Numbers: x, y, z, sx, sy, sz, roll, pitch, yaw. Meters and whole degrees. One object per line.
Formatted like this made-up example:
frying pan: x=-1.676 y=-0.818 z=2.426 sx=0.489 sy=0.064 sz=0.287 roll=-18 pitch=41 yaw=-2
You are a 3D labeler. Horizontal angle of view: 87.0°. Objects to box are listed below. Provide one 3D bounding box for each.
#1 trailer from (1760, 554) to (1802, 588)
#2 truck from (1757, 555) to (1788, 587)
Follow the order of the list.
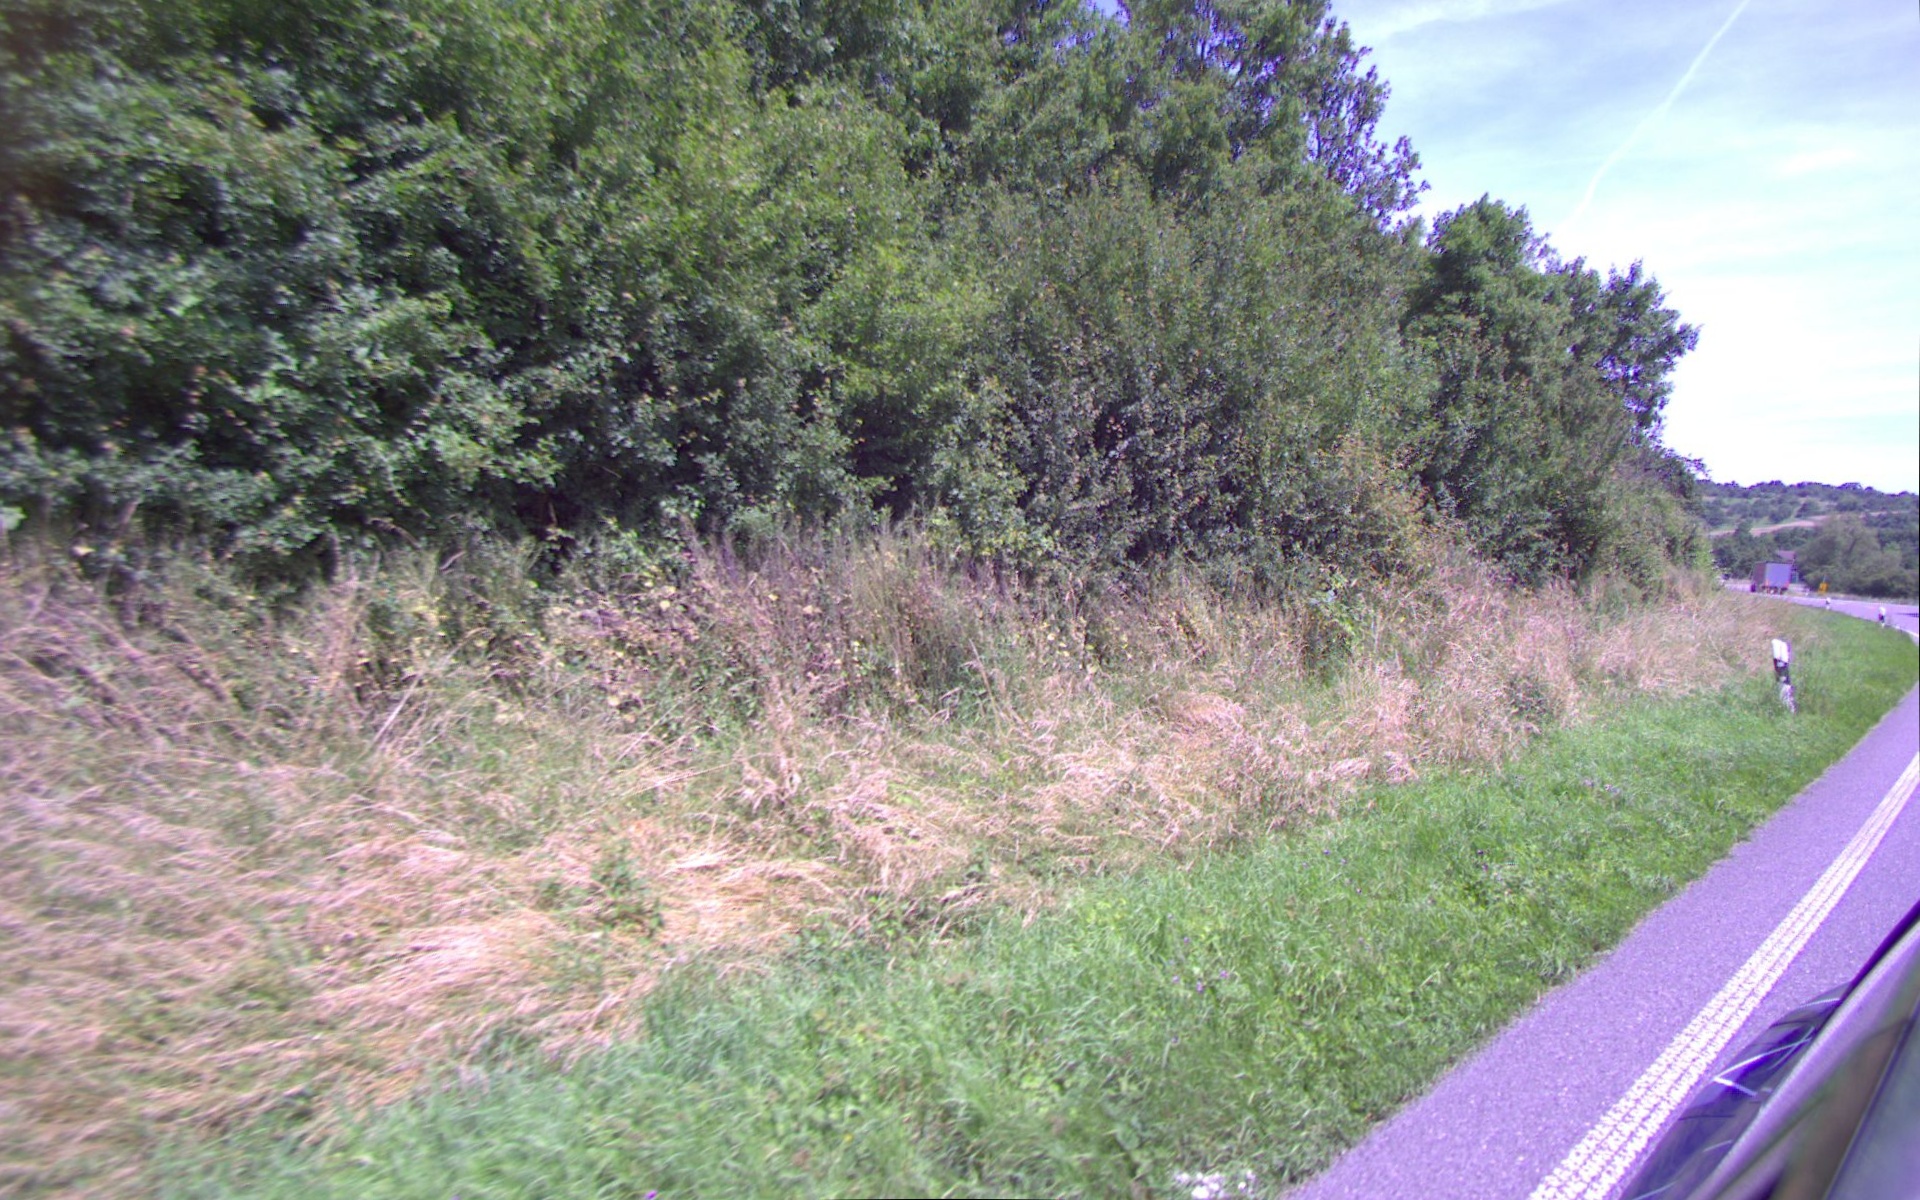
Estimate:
trailer: x=106.010 y=-3.779 z=130.819 sx=2.558 sy=4.158 sz=13.505 roll=2 pitch=2 yaw=32
truck: x=109.811 y=-3.914 z=136.830 sx=2.549 sy=4.166 sz=5.732 roll=2 pitch=2 yaw=33
